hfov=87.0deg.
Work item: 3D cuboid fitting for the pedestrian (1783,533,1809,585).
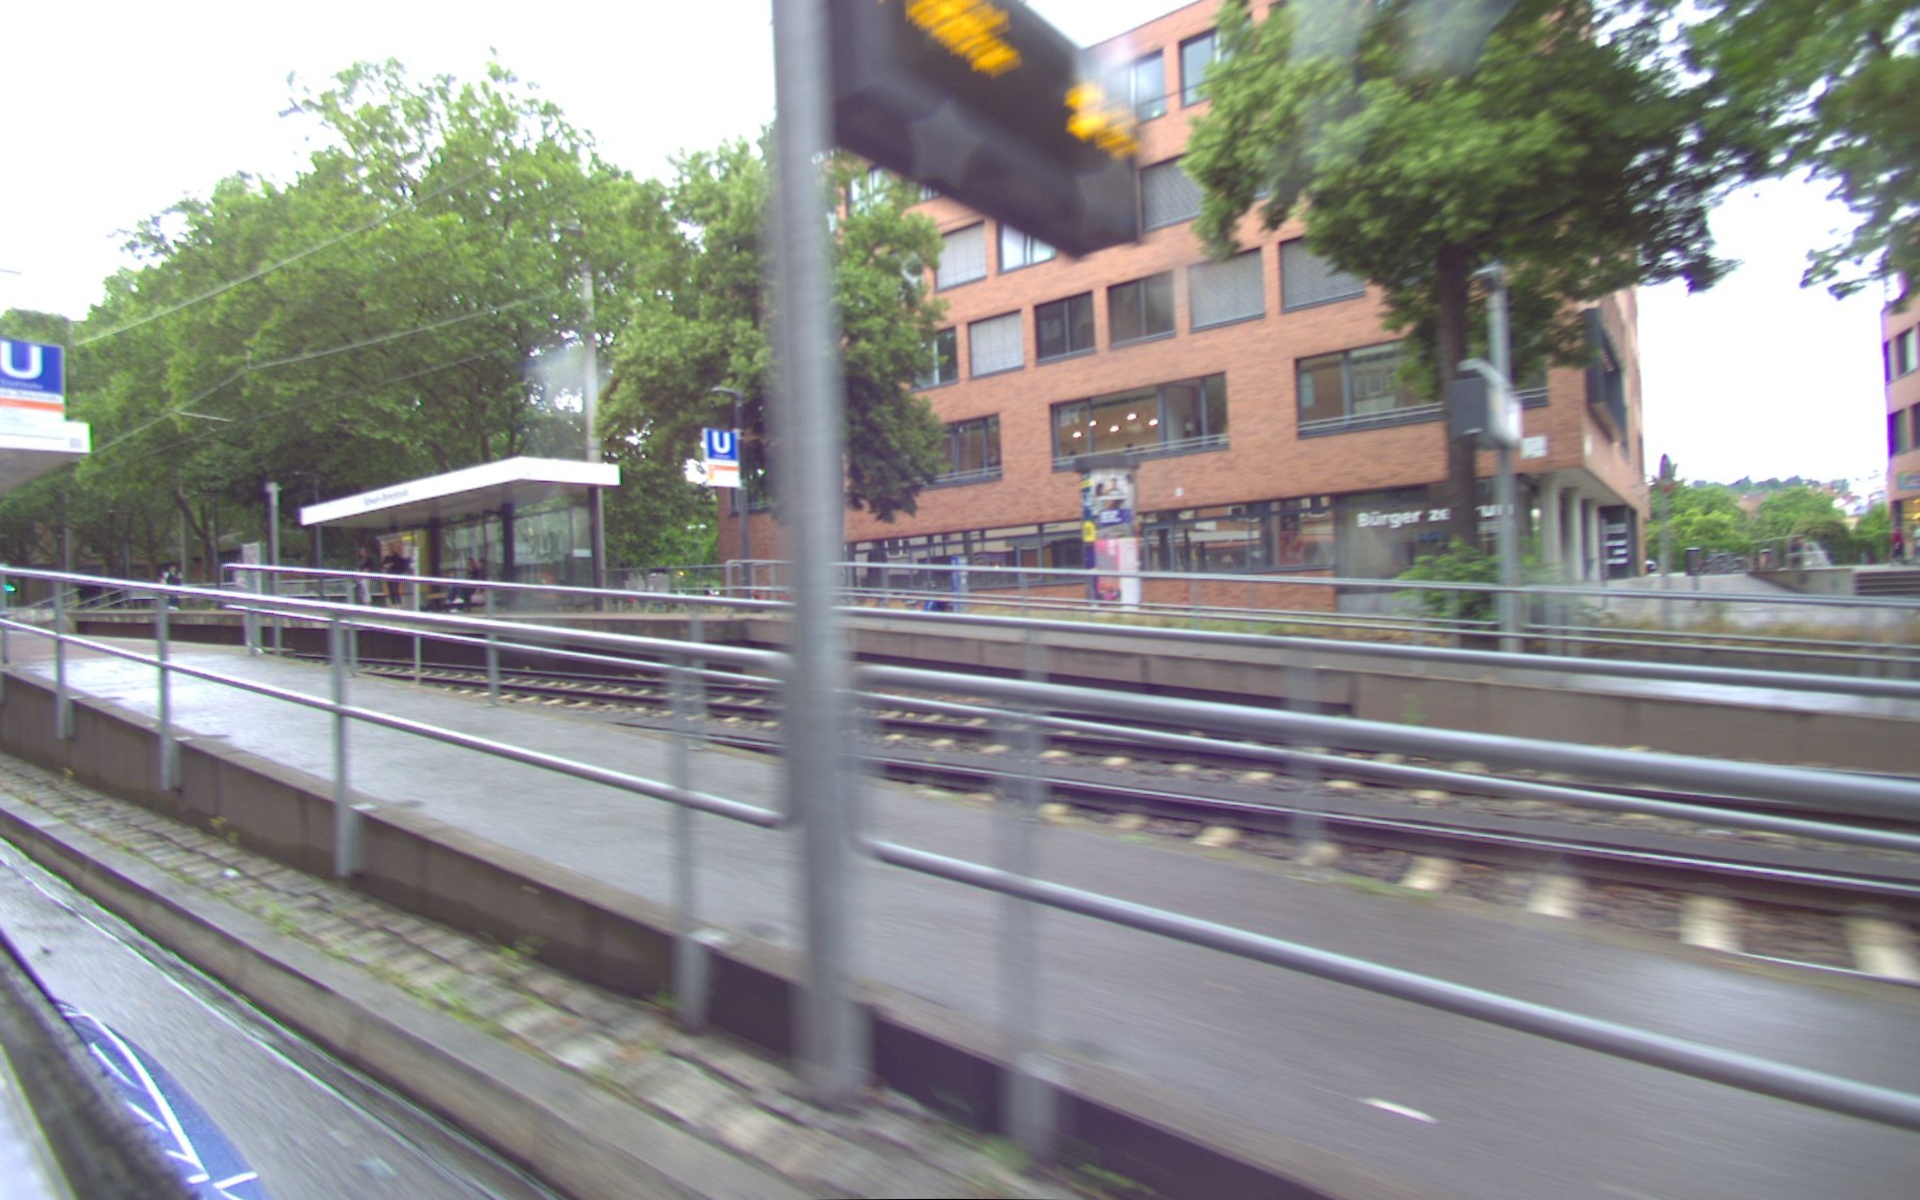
[{"bbox_3d":[33.476,-1.625,40.533,0.715,2.029,0.713,-1,0,32],"label":"pedestrian"}]

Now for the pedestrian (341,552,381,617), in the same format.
[{"bbox_3d":[-15.738,-0.412,26.577,0.563,1.653,0.680,-2,1,35],"label":"pedestrian"}]

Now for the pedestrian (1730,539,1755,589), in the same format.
[{"bbox_3d":[32.328,-1.495,41.823,0.715,2.029,0.713,-1,0,32],"label":"pedestrian"}]

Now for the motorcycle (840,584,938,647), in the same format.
[{"bbox_3d":[-1.946,0.400,28.353,1.004,1.640,3.032,-1,1,35],"label":"motorcycle"}]

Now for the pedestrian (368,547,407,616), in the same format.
[{"bbox_3d":[-14.587,-0.473,25.783,0.704,1.728,0.557,-2,1,35],"label":"pedestrian"}]

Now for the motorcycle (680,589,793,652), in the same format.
[{"bbox_3d":[-7.067,0.600,32.343,1.004,1.829,3.830,-1,1,35],"label":"motorcycle"}]

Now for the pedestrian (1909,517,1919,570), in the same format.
[{"bbox_3d":[37.418,-2.189,39.254,0.715,2.029,0.713,-1,0,32],"label":"pedestrian"}]

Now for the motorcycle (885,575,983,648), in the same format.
[{"bbox_3d":[-0.656,0.268,27.112,0.991,1.829,3.010,-1,1,35],"label":"motorcycle"}]

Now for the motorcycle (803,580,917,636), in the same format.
[{"bbox_3d":[-2.819,0.188,29.179,1.004,1.499,3.830,-1,1,35],"label":"motorcycle"}]

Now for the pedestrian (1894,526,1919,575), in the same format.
[{"bbox_3d":[40.831,-2.118,43.602,0.715,2.029,0.713,-1,0,32],"label":"pedestrian"}]

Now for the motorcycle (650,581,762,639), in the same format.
[{"bbox_3d":[-8.287,0.287,33.314,1.004,1.787,3.830,-1,1,35],"label":"motorcycle"}]

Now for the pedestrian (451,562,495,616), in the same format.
[{"bbox_3d":[-11.471,-0.258,23.842,0.563,1.249,0.697,-2,1,35],"label":"pedestrian"}]

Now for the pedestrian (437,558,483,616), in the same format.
[{"bbox_3d":[-11.979,-0.312,24.271,0.563,1.373,0.770,-2,1,35],"label":"pedestrian"}]

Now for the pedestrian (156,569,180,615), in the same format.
[{"bbox_3d":[-28.903,-0.304,36.932,0.689,1.653,0.556,-1,1,44],"label":"pedestrian"}]

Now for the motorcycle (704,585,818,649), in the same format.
[{"bbox_3d":[-6.157,0.473,31.649,1.004,1.829,3.830,-1,1,35],"label":"motorcycle"}]

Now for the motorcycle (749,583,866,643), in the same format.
[{"bbox_3d":[-4.434,0.325,29.906,1.004,1.617,3.830,-1,1,35],"label":"motorcycle"}]
